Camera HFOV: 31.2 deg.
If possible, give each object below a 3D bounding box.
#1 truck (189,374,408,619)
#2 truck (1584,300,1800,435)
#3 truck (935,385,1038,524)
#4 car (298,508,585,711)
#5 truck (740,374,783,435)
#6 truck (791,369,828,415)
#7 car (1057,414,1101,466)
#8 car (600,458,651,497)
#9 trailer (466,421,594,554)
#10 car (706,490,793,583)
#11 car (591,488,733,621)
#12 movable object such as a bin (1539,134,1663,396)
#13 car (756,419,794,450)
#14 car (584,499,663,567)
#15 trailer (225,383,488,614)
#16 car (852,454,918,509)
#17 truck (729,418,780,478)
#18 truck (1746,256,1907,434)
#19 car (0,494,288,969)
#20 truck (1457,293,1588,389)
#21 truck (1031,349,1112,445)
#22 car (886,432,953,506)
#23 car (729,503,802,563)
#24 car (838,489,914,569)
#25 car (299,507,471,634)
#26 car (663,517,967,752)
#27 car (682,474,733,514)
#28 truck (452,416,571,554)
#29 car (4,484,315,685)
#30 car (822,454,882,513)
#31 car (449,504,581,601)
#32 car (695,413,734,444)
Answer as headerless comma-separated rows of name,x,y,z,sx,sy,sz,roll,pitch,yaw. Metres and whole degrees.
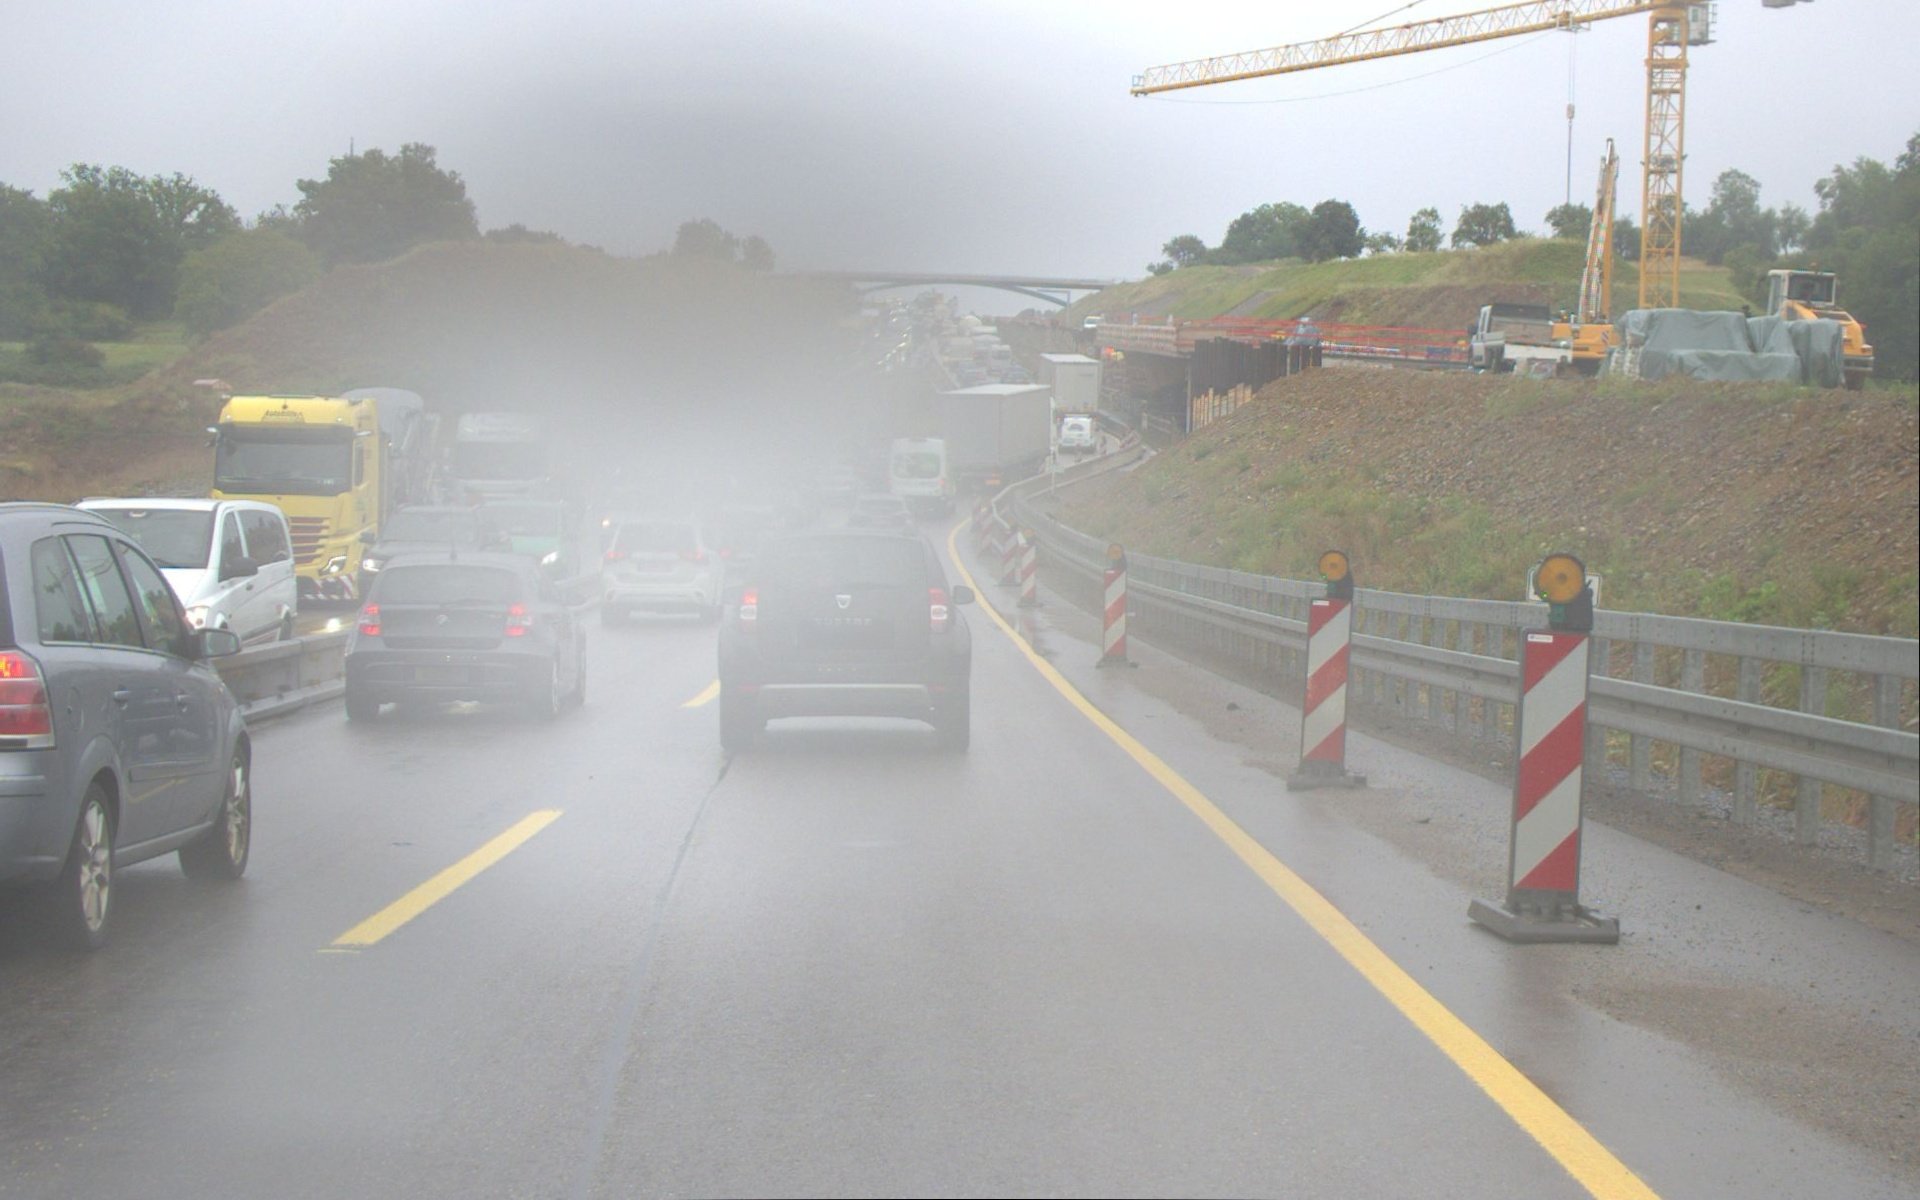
truck,-11.548,-1.800,60.524,2.749,4.048,6.148,1,1,-1
truck,17.809,-5.617,84.307,3.395,2.865,8.960,1,1,0
truck,1.148,-5.837,139.975,3.102,5.407,9.441,1,1,7
car,-4.371,0.027,29.548,1.993,1.595,4.141,1,1,-3
truck,-13.148,-13.026,228.573,2.641,3.956,9.216,1,4,-2
truck,-9.172,-12.686,209.990,2.147,2.704,6.017,1,3,-2
car,5.962,-7.994,172.356,1.993,2.475,4.741,1,1,0
car,-13.591,-4.980,139.839,1.787,1.541,4.001,1,2,-2
trailer,-12.580,-3.284,101.479,2.620,3.665,12.005,1,1,-2
car,-5.072,-1.536,82.487,1.993,2.155,4.141,1,1,-4
car,-4.666,-0.735,54.311,1.993,2.007,3.894,1,1,-2
movable object such as a bin,28.579,-14.674,152.846,4.721,10.804,10.298,1,1,13
car,-9.412,-8.406,174.924,1.787,1.533,4.312,0,2,-1
car,-9.258,-1.867,94.838,1.865,1.794,4.163,1,1,-2
trailer,-11.668,-1.962,68.135,2.749,4.028,15.361,1,1,-1
car,-3.031,-4.769,139.129,1.994,2.155,4.139,1,1,8
truck,-9.279,-6.870,155.750,2.078,2.567,5.963,1,1,-2
truck,22.032,-6.431,87.703,2.373,4.203,5.980,1,1,-2
car,-4.054,0.381,13.613,1.993,1.595,4.141,1,1,0
truck,17.240,-7.913,105.742,2.645,2.546,6.985,1,1,-2
truck,6.370,-11.663,199.082,3.803,5.025,12.923,1,1,-2
car,-1.395,-4.523,119.326,1.994,2.475,4.982,1,1,3
car,-5.857,-2.033,103.751,1.993,1.755,3.815,1,1,0
car,-2.299,-1.971,95.350,1.993,2.155,4.141,1,1,0
car,-8.561,-0.474,51.540,1.787,1.799,5.190,-1,1,-1
car,-1.017,0.192,25.814,2.081,1.595,4.141,1,1,0
car,-9.826,-4.155,134.202,1.772,1.499,4.680,0,2,-2
truck,-12.421,-3.175,95.663,2.620,3.665,6.596,1,1,-2
car,-7.642,-0.194,33.332,1.874,1.786,5.360,0,1,-1
car,-3.998,-4.321,128.027,1.993,2.155,4.141,1,1,1
car,-8.494,-0.946,66.036,1.993,1.753,4.688,1,2,-1
car,-12.723,-8.883,178.327,1.787,1.533,4.312,0,2,-1
